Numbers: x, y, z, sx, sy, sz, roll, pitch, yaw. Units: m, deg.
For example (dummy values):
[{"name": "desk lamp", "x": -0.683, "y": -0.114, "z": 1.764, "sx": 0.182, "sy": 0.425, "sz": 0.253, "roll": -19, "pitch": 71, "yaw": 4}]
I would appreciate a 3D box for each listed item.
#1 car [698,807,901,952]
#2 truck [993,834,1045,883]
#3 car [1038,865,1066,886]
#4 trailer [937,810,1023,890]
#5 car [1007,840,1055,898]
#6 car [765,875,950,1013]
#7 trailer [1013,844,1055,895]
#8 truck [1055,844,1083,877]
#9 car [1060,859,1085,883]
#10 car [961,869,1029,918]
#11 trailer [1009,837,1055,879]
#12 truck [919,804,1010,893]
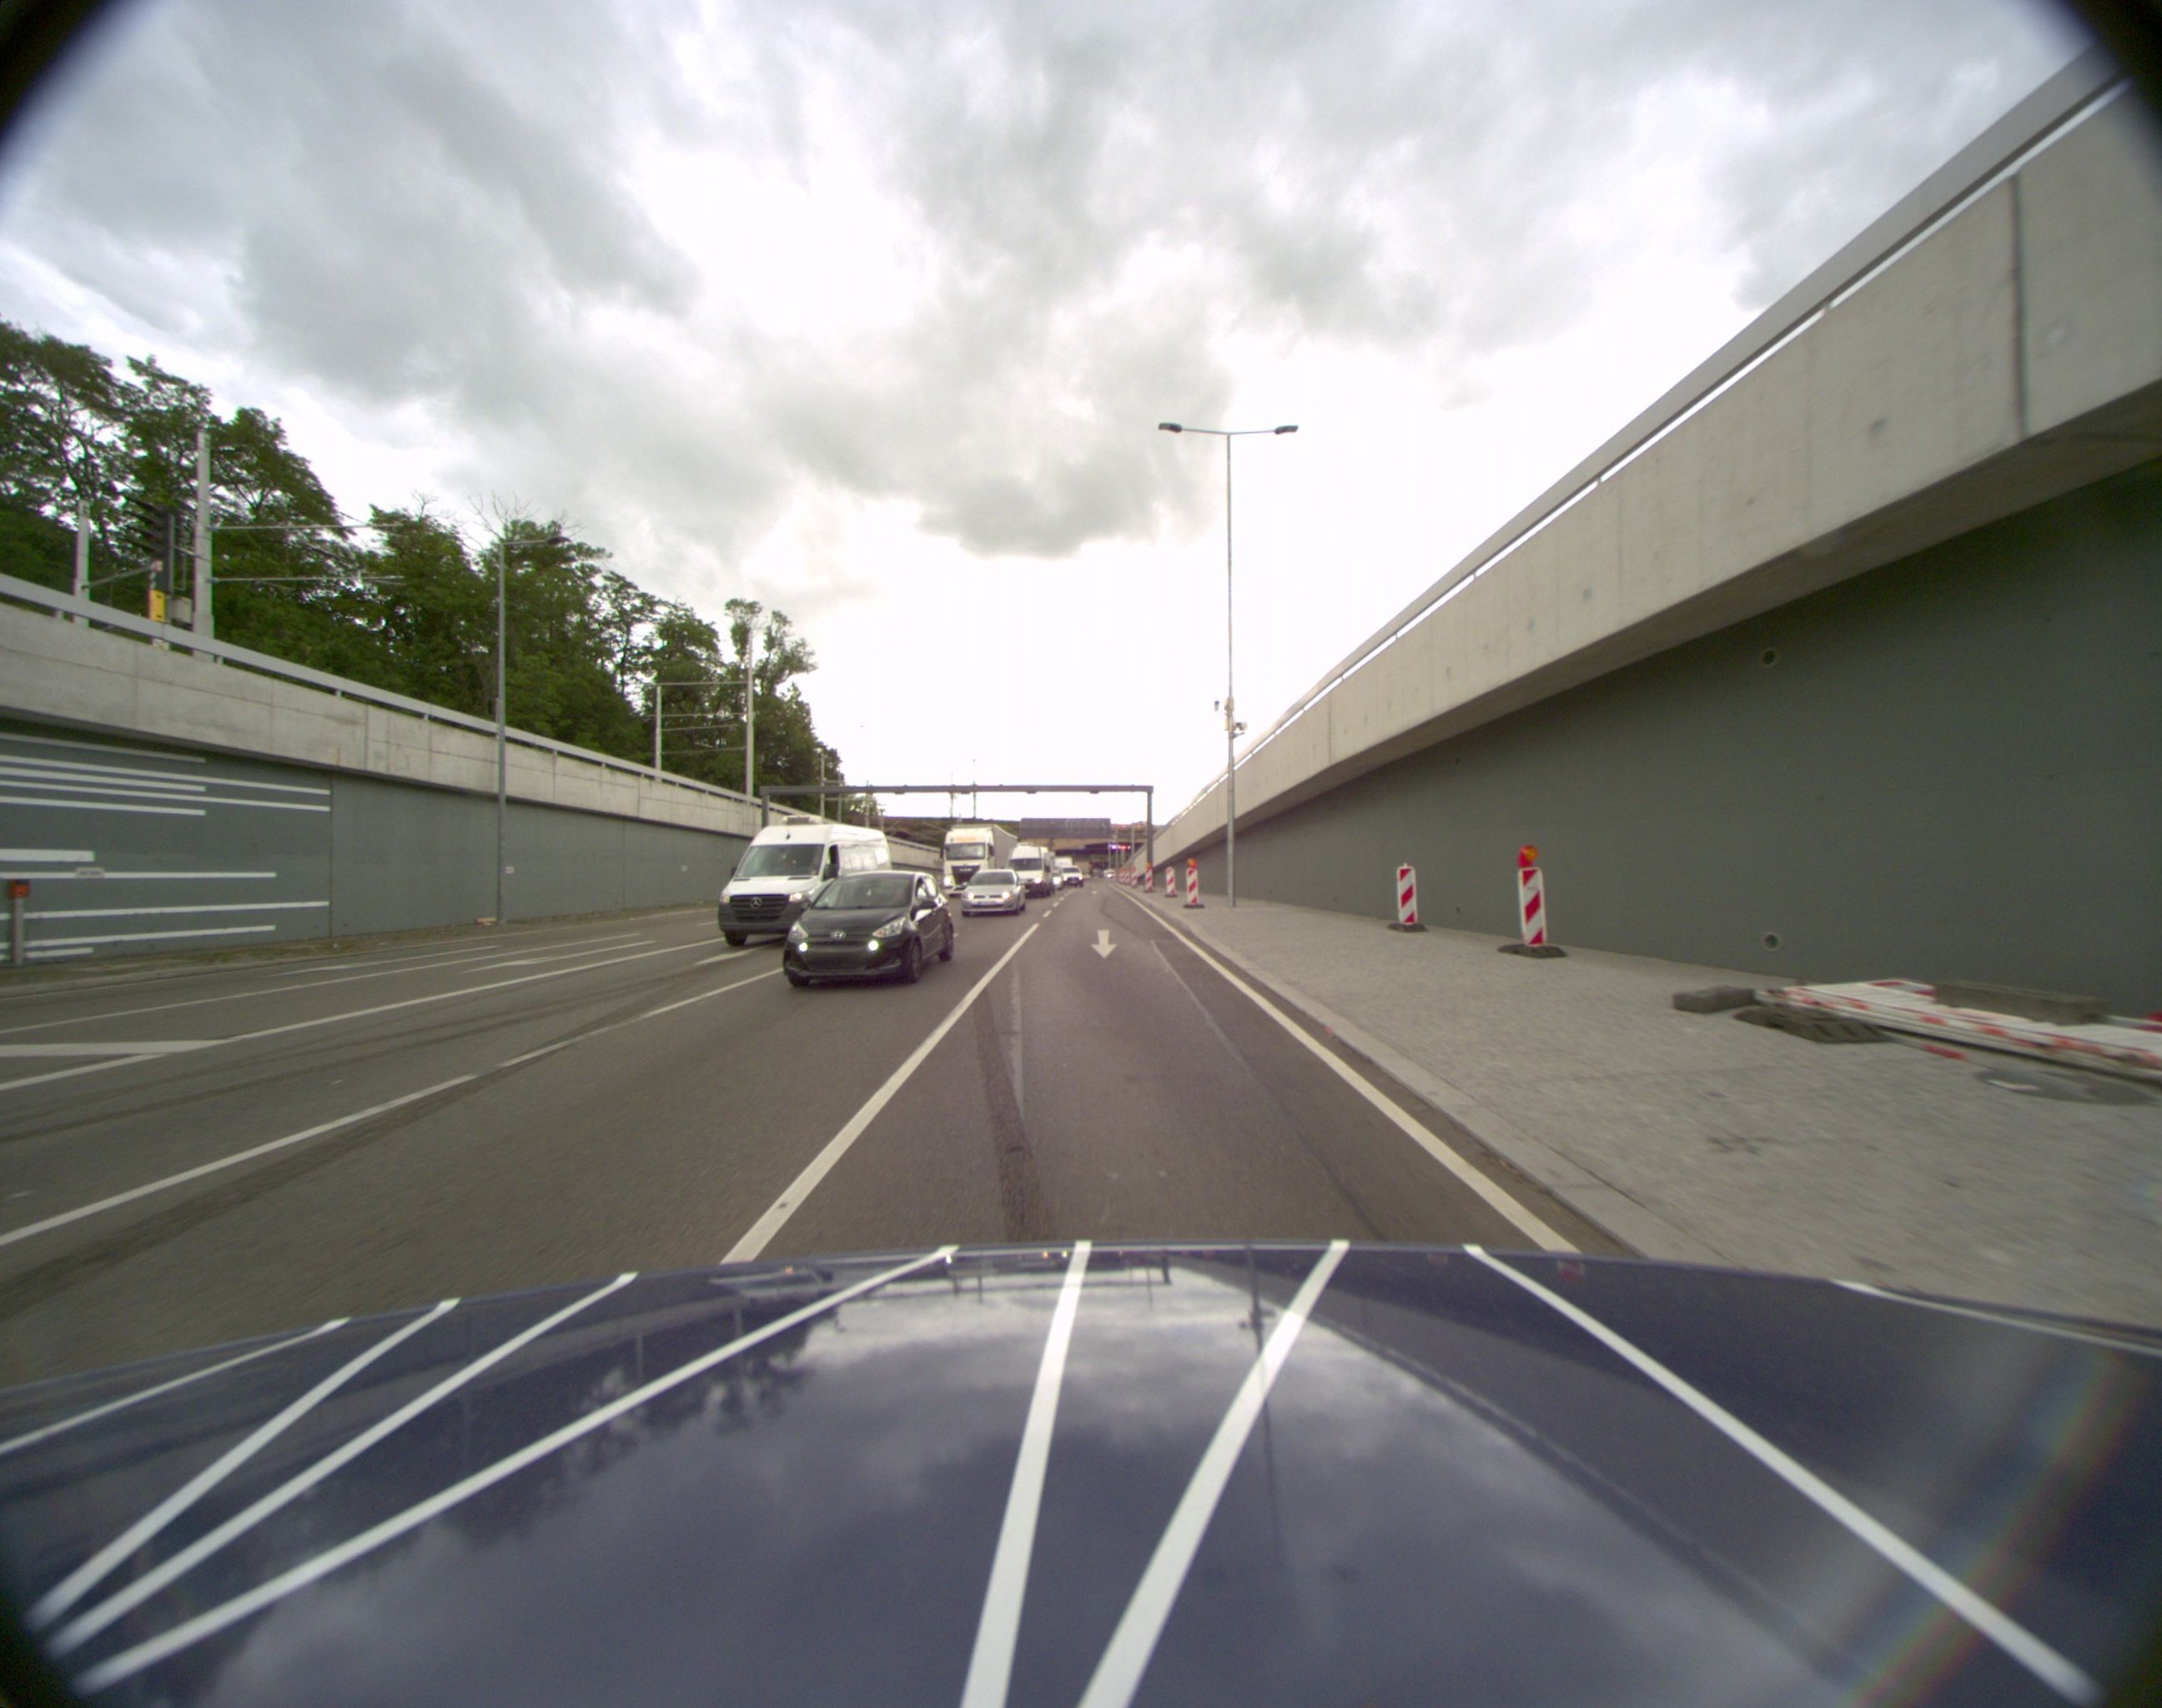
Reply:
[{"name": "car", "x": -6.281, "y": 0.554, "z": 18.288, "sx": 2.080, "sy": 2.756, "sz": 7.327, "roll": -1, "pitch": -1, "yaw": 0}, {"name": "truck", "x": -5.695, "y": 0.451, "z": 72.034, "sx": 3.734, "sy": 4.117, "sz": 10.985, "roll": -2, "pitch": -1, "yaw": 1}, {"name": "car", "x": -2.074, "y": 1.561, "z": 55.335, "sx": 1.720, "sy": 1.390, "sz": 4.347, "roll": -1, "pitch": 0, "yaw": 1}, {"name": "trailer", "x": -6.449, "y": -0.144, "z": 51.241, "sx": 3.814, "sy": 4.603, "sz": 12.116, "roll": -2, "pitch": -1, "yaw": 1}, {"name": "car", "x": -2.518, "y": 0.819, "z": 39.485, "sx": 2.063, "sy": 2.611, "sz": 5.943, "roll": -4, "pitch": -2, "yaw": -2}, {"name": "car", "x": -3.024, "y": 1.139, "z": 11.056, "sx": 1.686, "sy": 1.535, "sz": 3.692, "roll": -3, "pitch": 0, "yaw": -3}, {"name": "trailer", "x": -2.665, "y": 0.970, "z": 43.623, "sx": 2.109, "sy": 2.622, "sz": 4.811, "roll": -4, "pitch": -3, "yaw": -3}, {"name": "truck", "x": -1.538, "y": 0.811, "z": 92.686, "sx": 3.033, "sy": 3.566, "sz": 8.949, "roll": -5, "pitch": 0, "yaw": -2}, {"name": "car", "x": -0.739, "y": 1.520, "z": 67.447, "sx": 1.998, "sy": 1.978, "sz": 5.200, "roll": -2, "pitch": -1, "yaw": 1}, {"name": "car", "x": -2.730, "y": 1.237, "z": 24.845, "sx": 1.768, "sy": 1.375, "sz": 4.038, "roll": -1, "pitch": 0, "yaw": 0}, {"name": "trailer", "x": -5.213, "y": 0.459, "z": 82.981, "sx": 3.733, "sy": 4.117, "sz": 10.986, "roll": -2, "pitch": -1, "yaw": 2}, {"name": "truck", "x": -6.571, "y": -0.245, "z": 44.252, "sx": 3.814, "sy": 4.603, "sz": 7.443, "roll": -2, "pitch": -1, "yaw": 1}]
